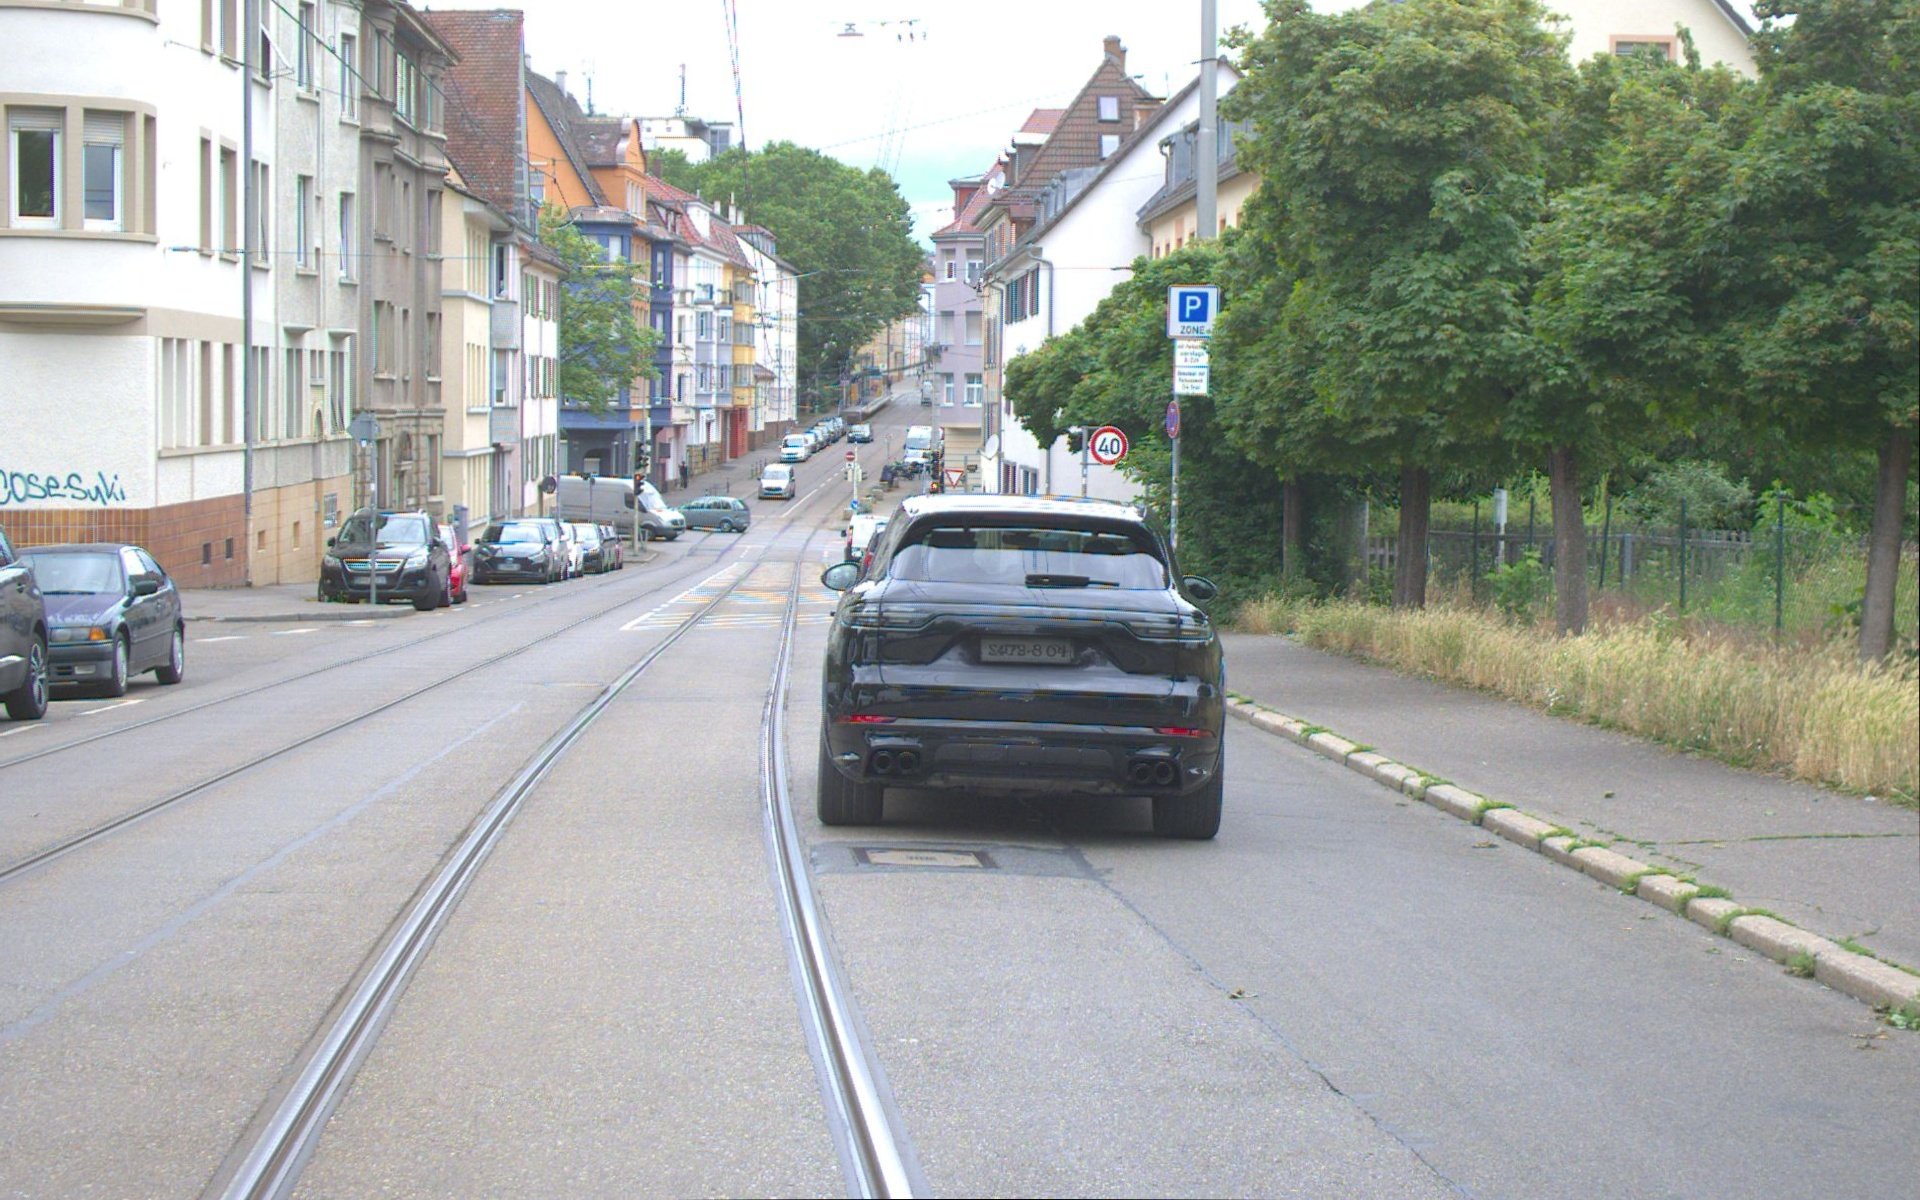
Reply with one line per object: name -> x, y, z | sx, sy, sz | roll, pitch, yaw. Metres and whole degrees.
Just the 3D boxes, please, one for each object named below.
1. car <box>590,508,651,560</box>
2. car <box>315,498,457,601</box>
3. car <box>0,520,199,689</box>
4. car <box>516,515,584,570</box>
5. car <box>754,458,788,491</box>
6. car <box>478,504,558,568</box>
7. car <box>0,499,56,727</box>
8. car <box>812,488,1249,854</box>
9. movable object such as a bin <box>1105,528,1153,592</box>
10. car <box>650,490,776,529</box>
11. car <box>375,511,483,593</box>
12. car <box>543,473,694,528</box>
car -> -9.942, -1.921, 100.896 | 1.620, 1.468, 4.557 | 0, 1, -4
car -> -9.479, -0.824, 57.046 | 1.867, 1.640, 4.403 | 0, 1, -4
car -> -8.227, 0.016, 31.986 | 1.620, 1.472, 4.157 | 0, 1, -4
car -> -11.000, -1.539, 92.346 | 1.620, 1.458, 3.685 | 0, 1, -4
car -> -10.632, -7.055, 193.716 | 1.751, 1.753, 4.254 | 1, 1, -2
car -> -10.465, -1.503, 81.504 | 1.620, 1.458, 4.033 | 0, 1, -4
car -> -8.063, 0.098, 25.162 | 1.968, 1.681, 4.445 | 0, 1, -4
car -> 0.243, 0.288, 17.902 | 1.993, 1.670, 4.001 | 1, 1, -3
movable object such as a bin -> 3.228, -0.765, 65.712 | 0.792, 1.214, 0.789 | 1, 1, -6
car -> -11.322, -4.162, 157.795 | 5.434, 1.698, 2.101 | 1, 1, 26
car -> -9.680, -0.872, 62.870 | 1.620, 1.458, 3.746 | 0, 1, -4
car -> -14.818, -4.324, 148.959 | 6.289, 2.282, 2.199 | 1, 1, 26
